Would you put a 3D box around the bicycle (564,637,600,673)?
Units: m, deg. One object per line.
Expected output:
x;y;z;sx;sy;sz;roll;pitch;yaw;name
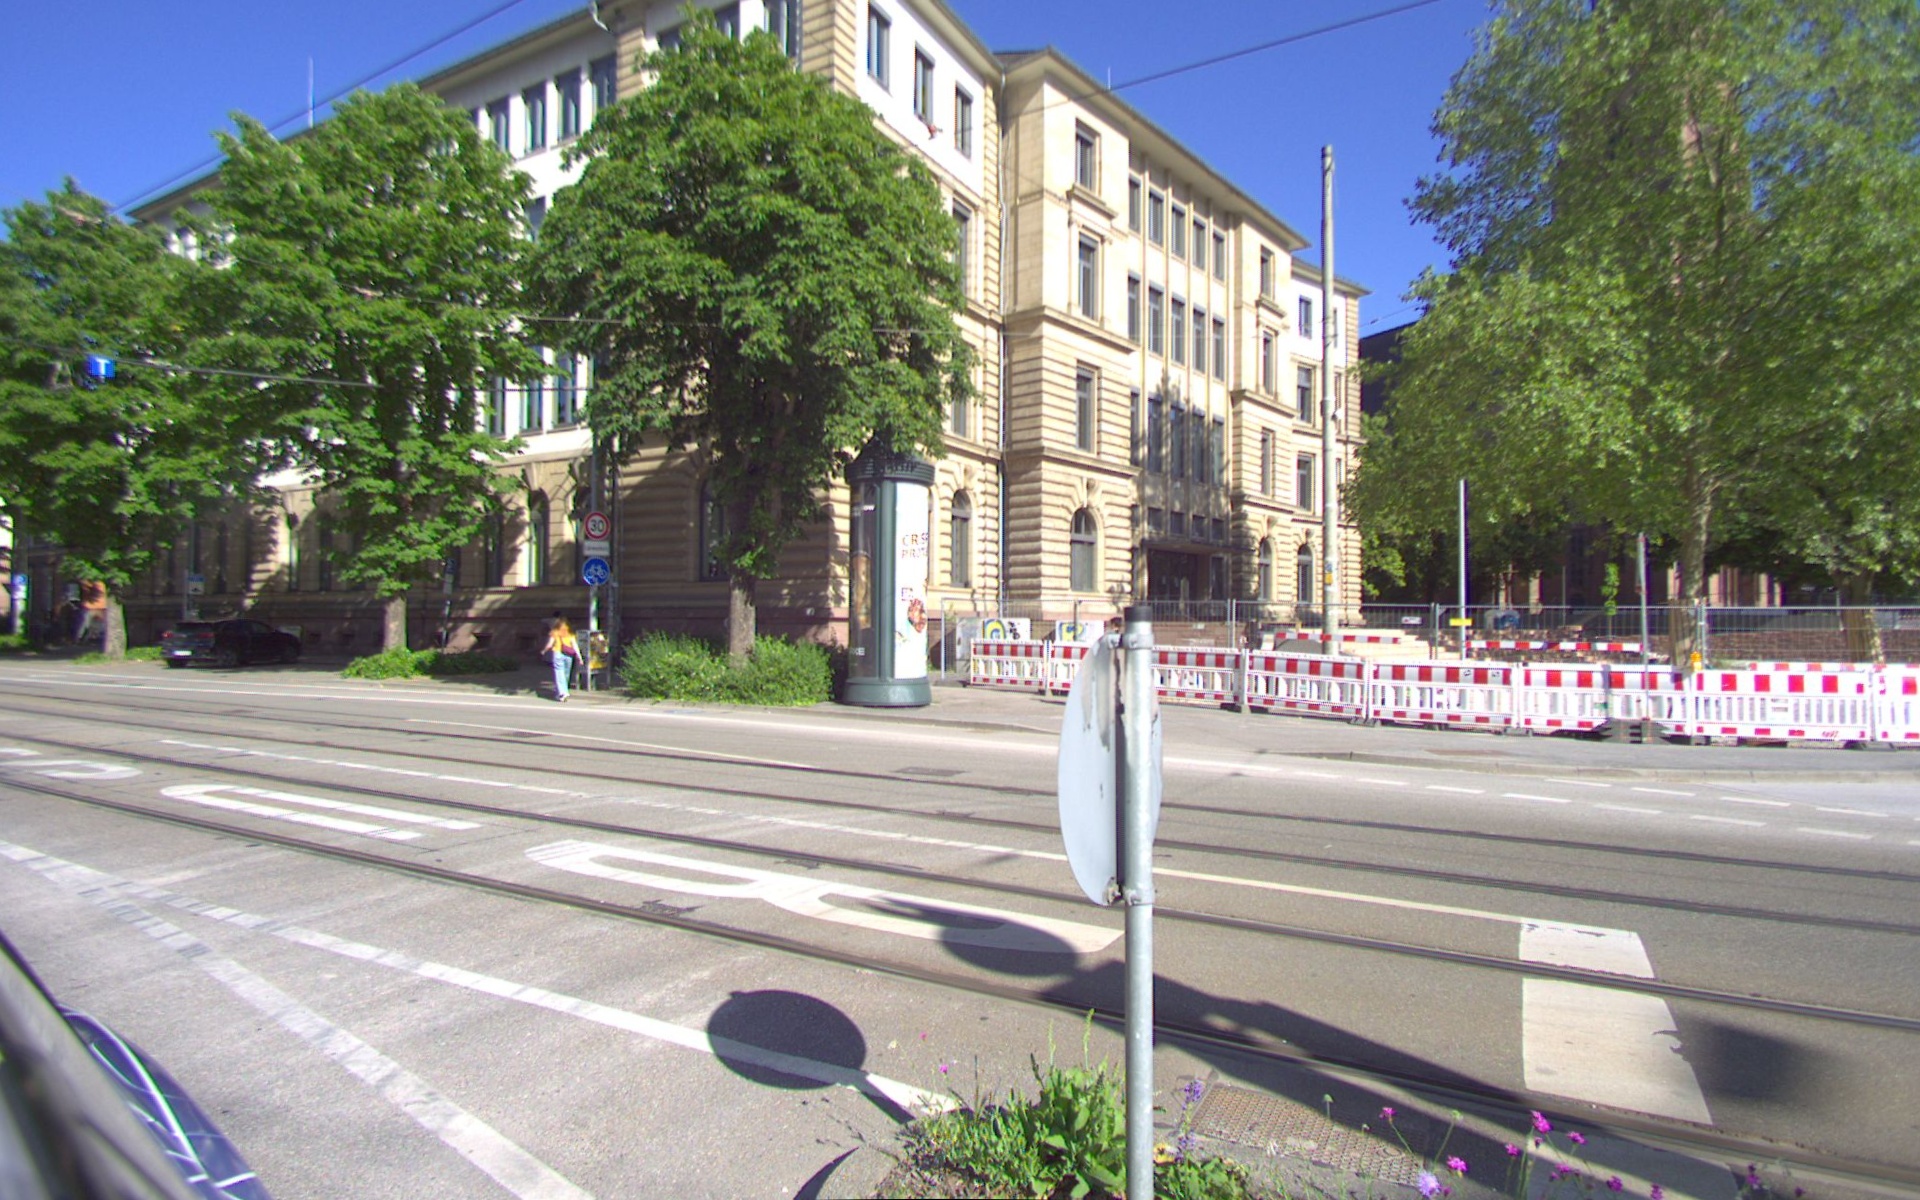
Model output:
-10.587;1.529;28.332;1.098;0.963;0.340;0;0;33;bicycle

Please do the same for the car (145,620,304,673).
-23.198;1.440;32.133;1.896;1.586;4.106;0;-2;3;car

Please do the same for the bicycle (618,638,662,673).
-8.841;1.517;27.941;1.357;0.910;0.393;0;0;33;bicycle

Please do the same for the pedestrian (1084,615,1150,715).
2.785;1.131;17.968;0.846;1.682;0.720;2;0;41;pedestrian

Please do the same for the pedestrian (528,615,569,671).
-12.137;1.265;29.887;0.671;1.578;0.848;0;2;35;pedestrian

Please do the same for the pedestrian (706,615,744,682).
-5.631;1.145;24.260;0.651;1.574;0.573;-1;-2;31;pedestrian

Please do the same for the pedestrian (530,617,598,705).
-7.810;1.179;19.961;1.032;1.682;0.762;-1;-3;37;pedestrian
